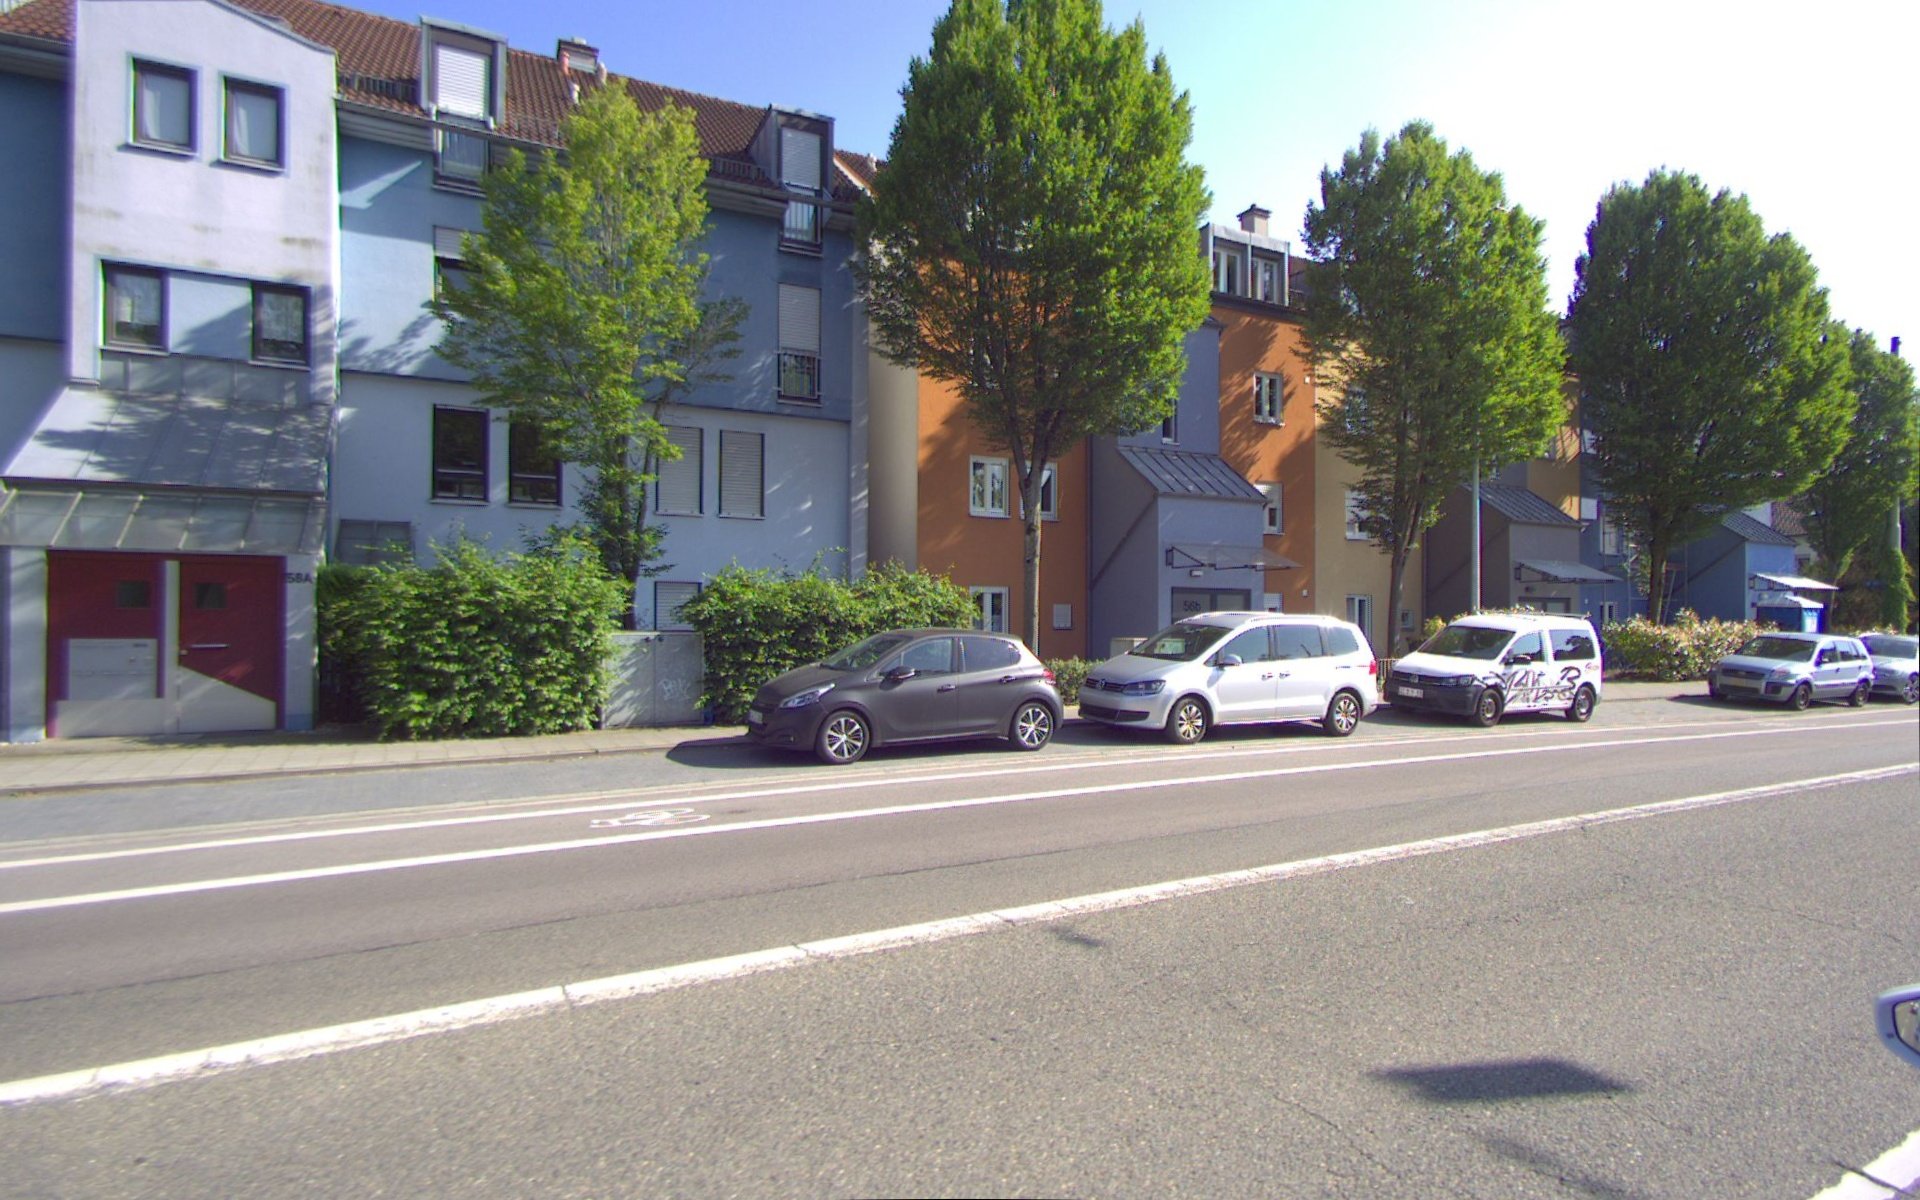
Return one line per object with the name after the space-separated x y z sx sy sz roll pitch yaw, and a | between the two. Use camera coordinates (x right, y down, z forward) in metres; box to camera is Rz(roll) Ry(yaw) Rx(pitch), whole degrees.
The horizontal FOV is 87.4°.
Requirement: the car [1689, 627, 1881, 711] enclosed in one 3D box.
18.137 1.462 22.070 3.929 1.560 1.756 1 3 -27 | car

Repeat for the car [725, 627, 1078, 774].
-0.666 1.102 12.263 4.009 1.485 1.608 1 0 -30 | car

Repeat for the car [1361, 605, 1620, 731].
9.358 1.106 17.648 4.524 1.871 1.755 1 3 -29 | car

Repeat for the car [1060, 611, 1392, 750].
3.915 1.060 14.566 4.762 1.723 1.662 1 1 -27 | car

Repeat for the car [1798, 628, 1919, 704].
22.393 1.530 24.243 4.699 1.531 1.740 1 3 -30 | car

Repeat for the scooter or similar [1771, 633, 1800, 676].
22.956 1.516 27.930 1.031 1.169 0.292 1 -1 -32 | scooter or similar

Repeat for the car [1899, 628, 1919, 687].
27.015 1.580 26.924 3.465 1.515 1.594 1 3 -28 | car

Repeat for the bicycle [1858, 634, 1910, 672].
28.840 1.648 31.344 1.757 1.169 0.442 1 -1 -21 | bicycle
